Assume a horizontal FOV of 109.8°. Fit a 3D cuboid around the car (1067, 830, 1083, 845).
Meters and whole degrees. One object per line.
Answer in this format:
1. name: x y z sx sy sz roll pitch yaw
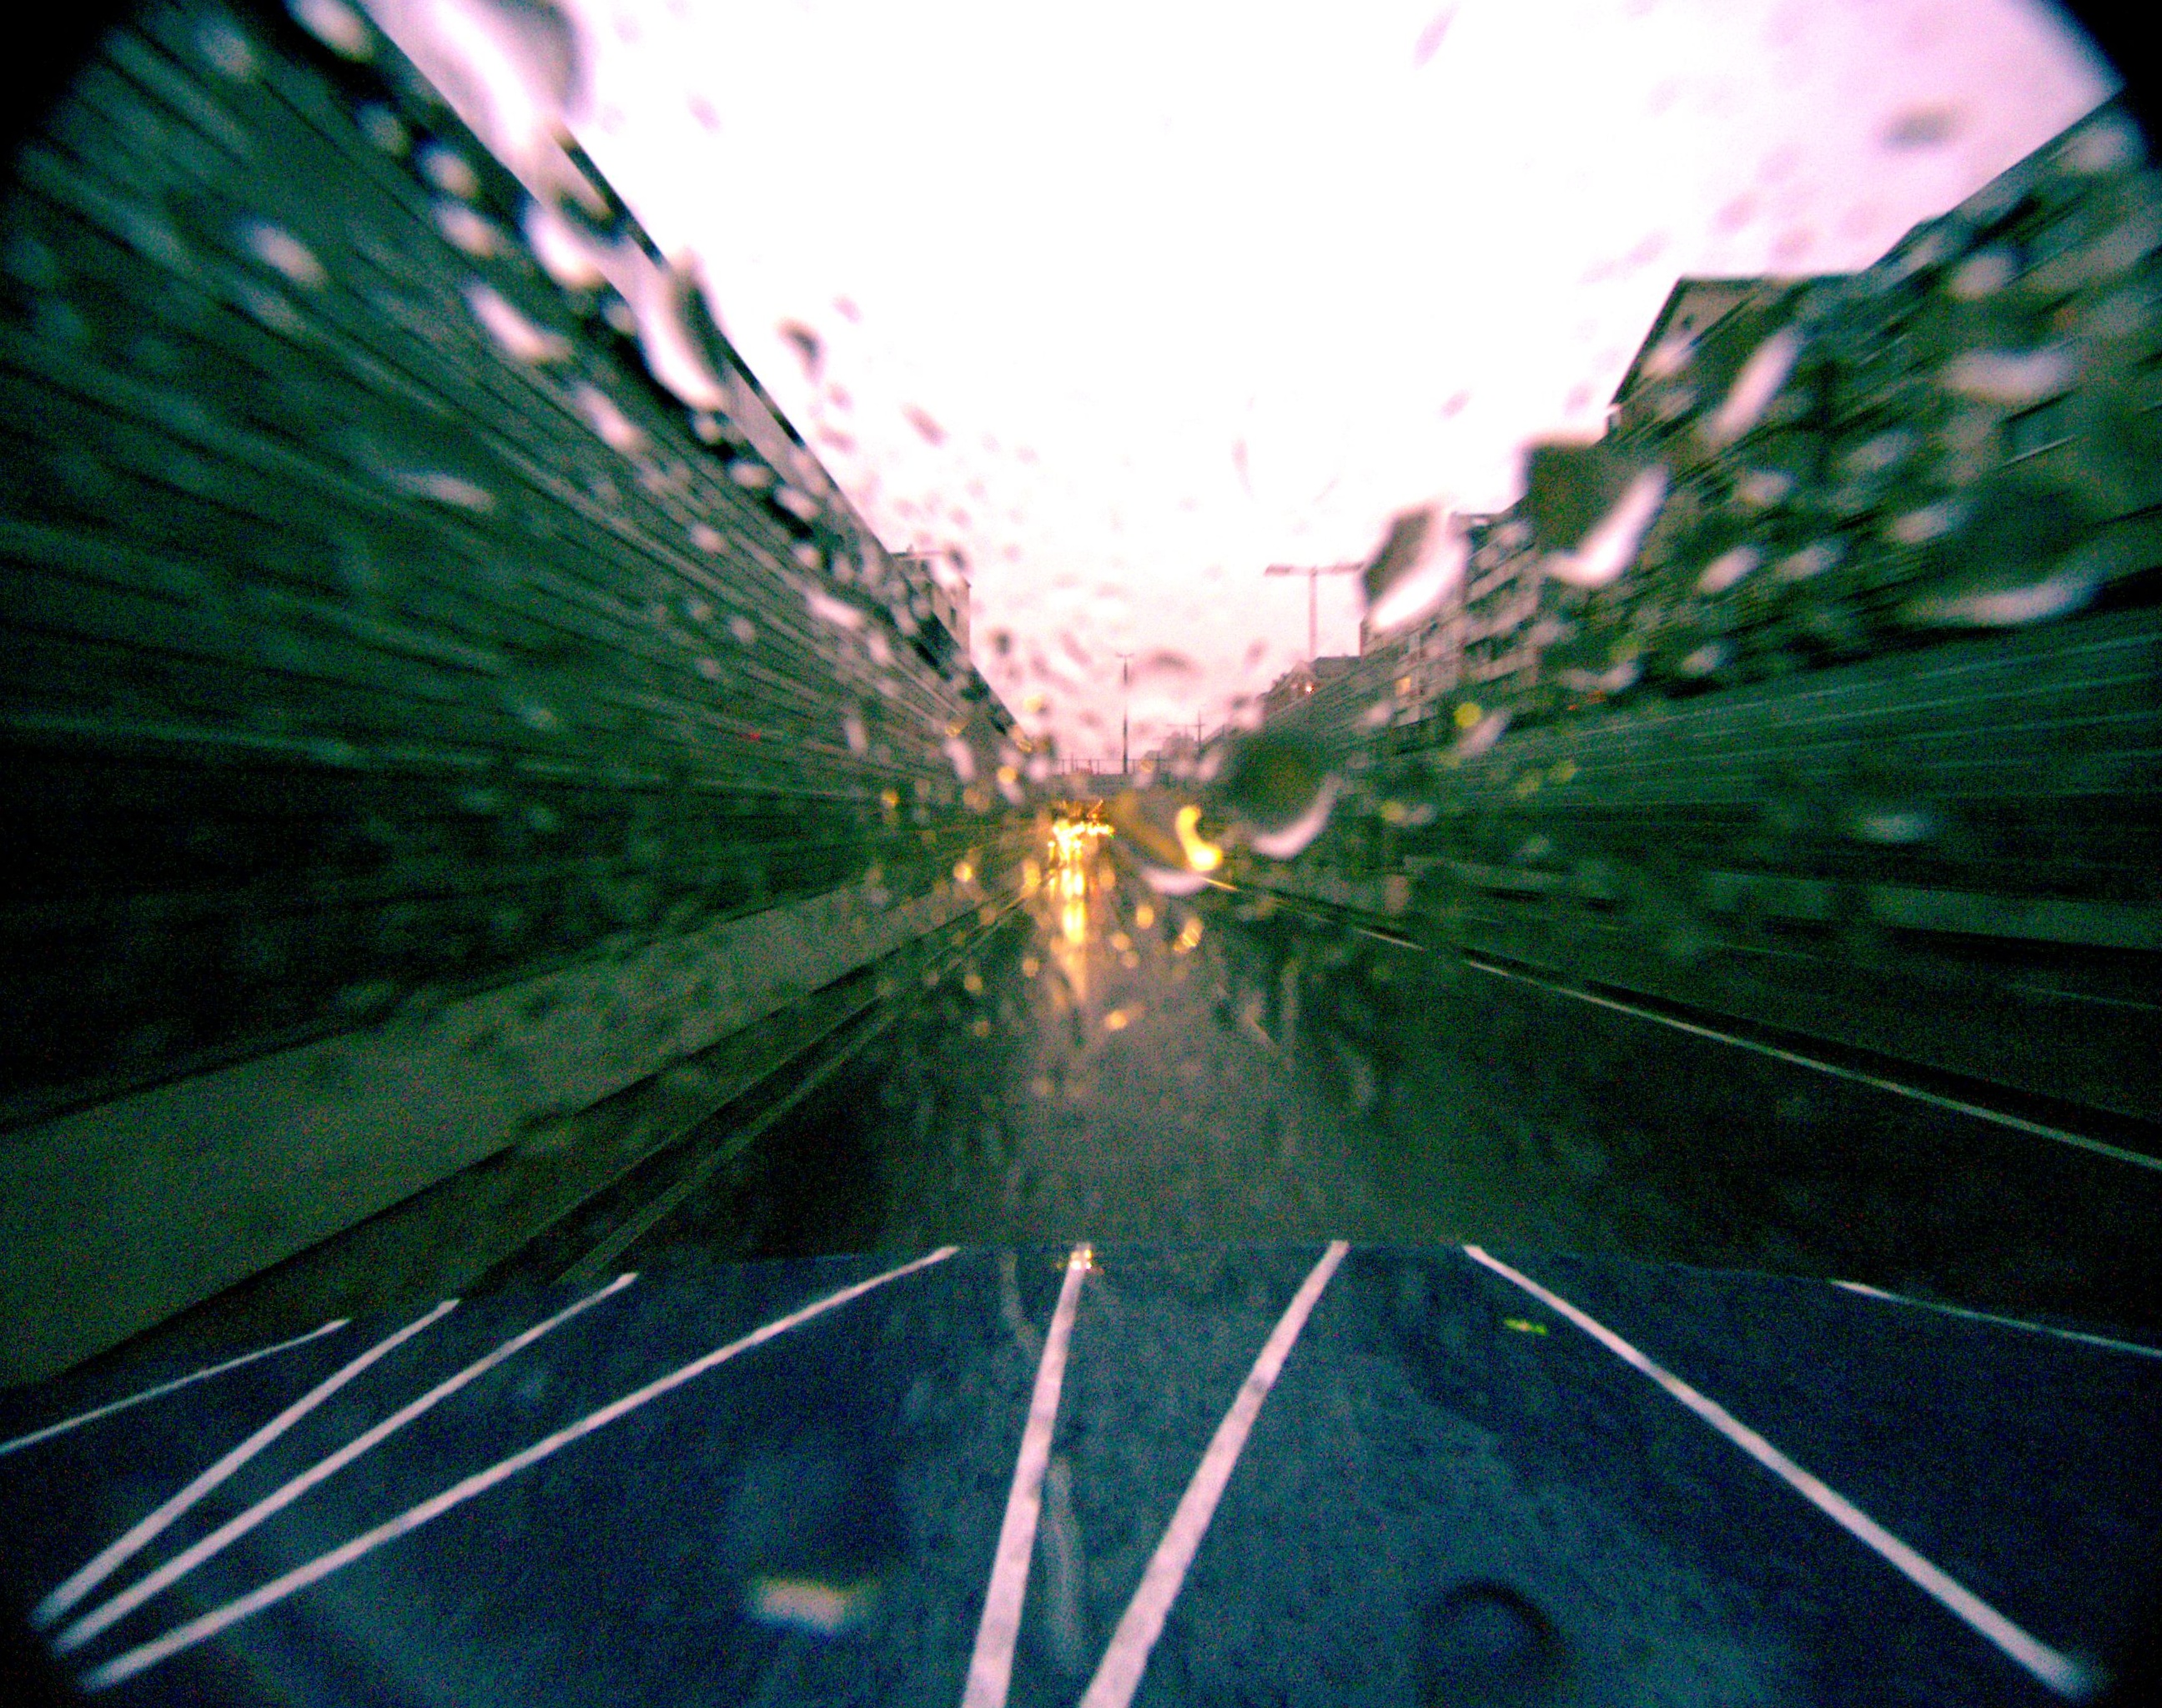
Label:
1. car: -0.902 -2.328 107.307 2.031 2.018 4.422 -2 2 -2
